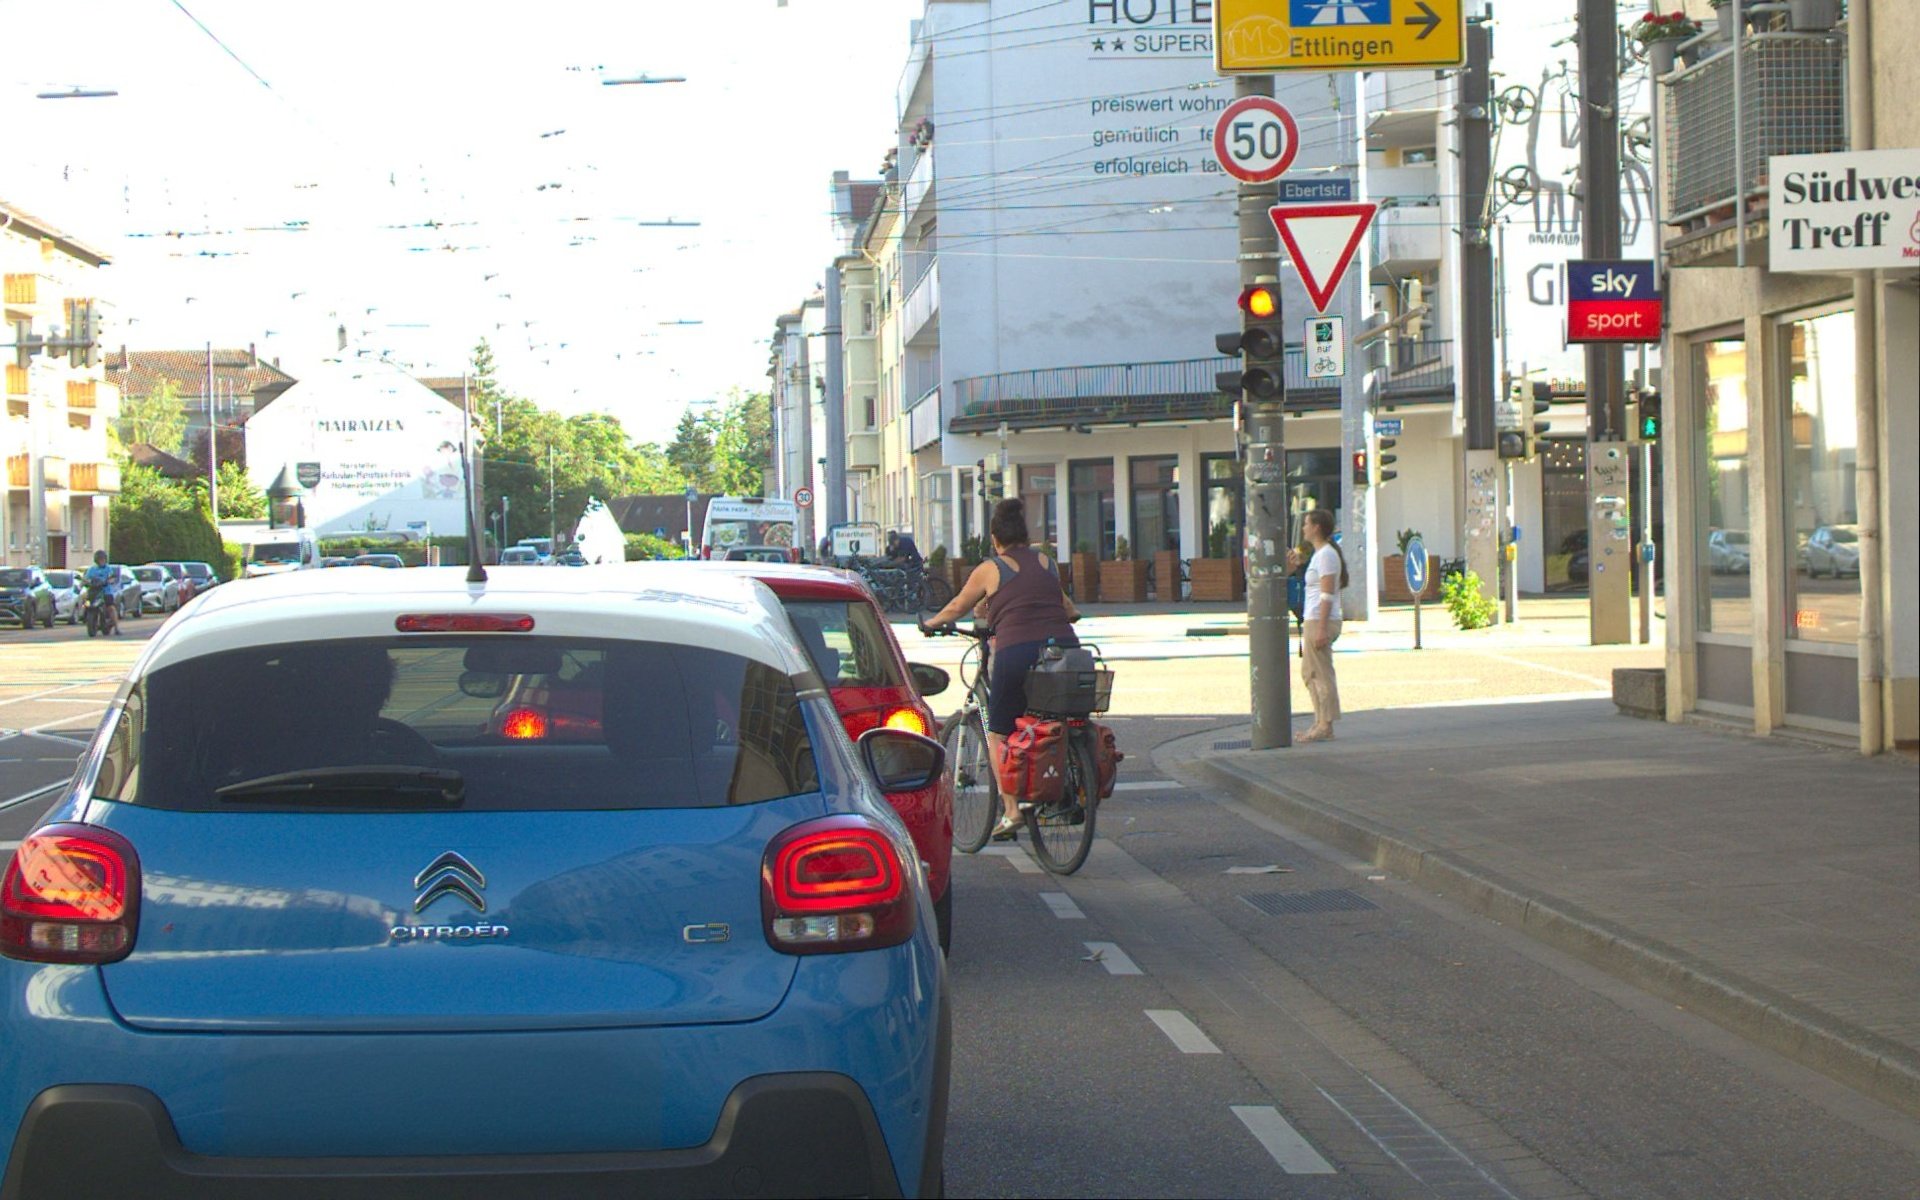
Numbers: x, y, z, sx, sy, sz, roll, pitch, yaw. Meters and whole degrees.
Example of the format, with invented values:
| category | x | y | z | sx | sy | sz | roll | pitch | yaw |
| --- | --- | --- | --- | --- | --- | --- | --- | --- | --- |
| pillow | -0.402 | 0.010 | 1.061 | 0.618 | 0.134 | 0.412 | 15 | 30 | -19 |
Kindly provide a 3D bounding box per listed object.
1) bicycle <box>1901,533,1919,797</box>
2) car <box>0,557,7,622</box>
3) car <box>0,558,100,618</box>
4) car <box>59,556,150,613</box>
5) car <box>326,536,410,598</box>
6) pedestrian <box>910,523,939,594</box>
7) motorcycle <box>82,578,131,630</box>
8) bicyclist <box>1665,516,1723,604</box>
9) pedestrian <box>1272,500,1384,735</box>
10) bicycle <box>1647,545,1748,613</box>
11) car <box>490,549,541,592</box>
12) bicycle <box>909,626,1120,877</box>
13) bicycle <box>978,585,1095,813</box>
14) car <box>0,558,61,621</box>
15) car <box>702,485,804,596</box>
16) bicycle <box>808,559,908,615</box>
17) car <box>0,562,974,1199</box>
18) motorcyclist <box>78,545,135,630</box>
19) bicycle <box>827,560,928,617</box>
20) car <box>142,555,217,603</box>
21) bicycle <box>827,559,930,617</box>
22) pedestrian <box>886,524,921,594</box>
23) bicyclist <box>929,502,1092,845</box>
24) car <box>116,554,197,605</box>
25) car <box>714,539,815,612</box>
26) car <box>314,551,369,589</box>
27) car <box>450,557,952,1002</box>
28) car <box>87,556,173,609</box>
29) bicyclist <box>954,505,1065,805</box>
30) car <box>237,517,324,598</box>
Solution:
| category | x | y | z | sx | sy | sz | roll | pitch | yaw |
| --- | --- | --- | --- | --- | --- | --- | --- | --- | --- |
| bicycle | 4.912 | 0.319 | 15.750 | 0.640 | 1.260 | 1.911 | -1 | 1 | -1 |
| car | -23.324 | -0.196 | 79.221 | 1.950 | 1.514 | 4.001 | -1 | 1 | -6 |
| car | -24.310 | -0.339 | 91.943 | 1.950 | 1.514 | 4.001 | -1 | 1 | -6 |
| car | -24.463 | -0.461 | 98.370 | 1.950 | 1.514 | 4.001 | -1 | 1 | -6 |
| car | -16.238 | -0.928 | 94.505 | 2.004 | 1.622 | 5.054 | -1 | 1 | -7 |
| pedestrian | -0.723 | -0.845 | 70.003 | 0.467 | 1.415 | 0.527 | -1 | 1 | -13 |
| motorcycle | -16.697 | 0.072 | 67.283 | 0.751 | 0.973 | 2.098 | -1 | 1 | -9 |
| bicyclist | 12.130 | -0.662 | 56.803 | 0.728 | 1.429 | 0.604 | 0 | 1 | 37 |
| pedestrian | 2.606 | 0.113 | 24.372 | 0.751 | 1.629 | 0.740 | -1 | 1 | 6 |
| bicycle | 12.181 | -0.346 | 56.773 | 1.492 | 1.087 | 0.604 | 0 | 1 | 37 |
| car | -22.051 | -1.505 | 170.837 | 2.338 | 2.032 | 5.051 | -1 | 1 | -6 |
| bicycle | 0.241 | 0.705 | 16.829 | 0.616 | 1.099 | 1.887 | -1 | 1 | -12 |
| bicycle | 0.446 | 0.565 | 20.639 | 0.613 | 1.260 | 1.911 | -1 | 1 | -1 |
| car | -23.789 | -0.270 | 85.886 | 1.950 | 1.514 | 4.001 | -1 | 1 | -6 |
| car | -4.435 | -1.275 | 73.238 | 2.079 | 2.262 | 5.652 | 0 | 1 | -4 |
| bicycle | -2.029 | -0.271 | 68.310 | 1.904 | 1.061 | 0.642 | -1 | 1 | -7 |
| car | -0.960 | 0.674 | 7.372 | 1.680 | 1.457 | 4.001 | 0 | 1 | -4 |
| motorcyclist | -16.678 | -0.253 | 67.209 | 0.991 | 1.625 | 0.739 | -1 | 1 | -9 |
| bicycle | -1.610 | -0.233 | 67.117 | 1.904 | 1.061 | 0.642 | -1 | 1 | -7 |
| car | -26.073 | -0.725 | 114.995 | 1.950 | 1.514 | 4.001 | -1 | 1 | -6 |
| bicycle | -1.561 | -0.239 | 65.811 | 1.904 | 1.061 | 0.642 | -1 | 1 | -7 |
| pedestrian | -1.156 | -0.842 | 70.255 | 0.525 | 1.415 | 0.546 | -1 | 1 | 20 |
| bicyclist | 0.240 | 0.342 | 16.808 | 0.616 | 1.624 | 0.760 | -1 | 1 | -12 |
| car | -25.363 | -0.676 | 108.653 | 1.950 | 1.514 | 4.001 | -1 | 1 | -6 |
| car | -3.885 | -0.513 | 67.802 | 1.786 | 1.354 | 3.915 | -1 | 1 | -6 |
| car | -25.982 | -1.285 | 144.565 | 1.950 | 1.514 | 4.001 | -1 | 1 | -6 |
| car | -1.008 | 0.582 | 13.582 | 1.680 | 1.457 | 4.001 | 0 | 1 | -4 |
| car | -24.930 | -0.545 | 103.374 | 1.950 | 1.514 | 4.001 | -1 | 1 | -6 |
| bicyclist | 0.288 | 0.309 | 20.596 | 0.600 | 1.740 | 1.084 | -1 | 1 | -1 |
| car | -23.666 | -1.507 | 119.932 | 2.493 | 2.703 | 5.839 | -1 | 1 | -7 |
